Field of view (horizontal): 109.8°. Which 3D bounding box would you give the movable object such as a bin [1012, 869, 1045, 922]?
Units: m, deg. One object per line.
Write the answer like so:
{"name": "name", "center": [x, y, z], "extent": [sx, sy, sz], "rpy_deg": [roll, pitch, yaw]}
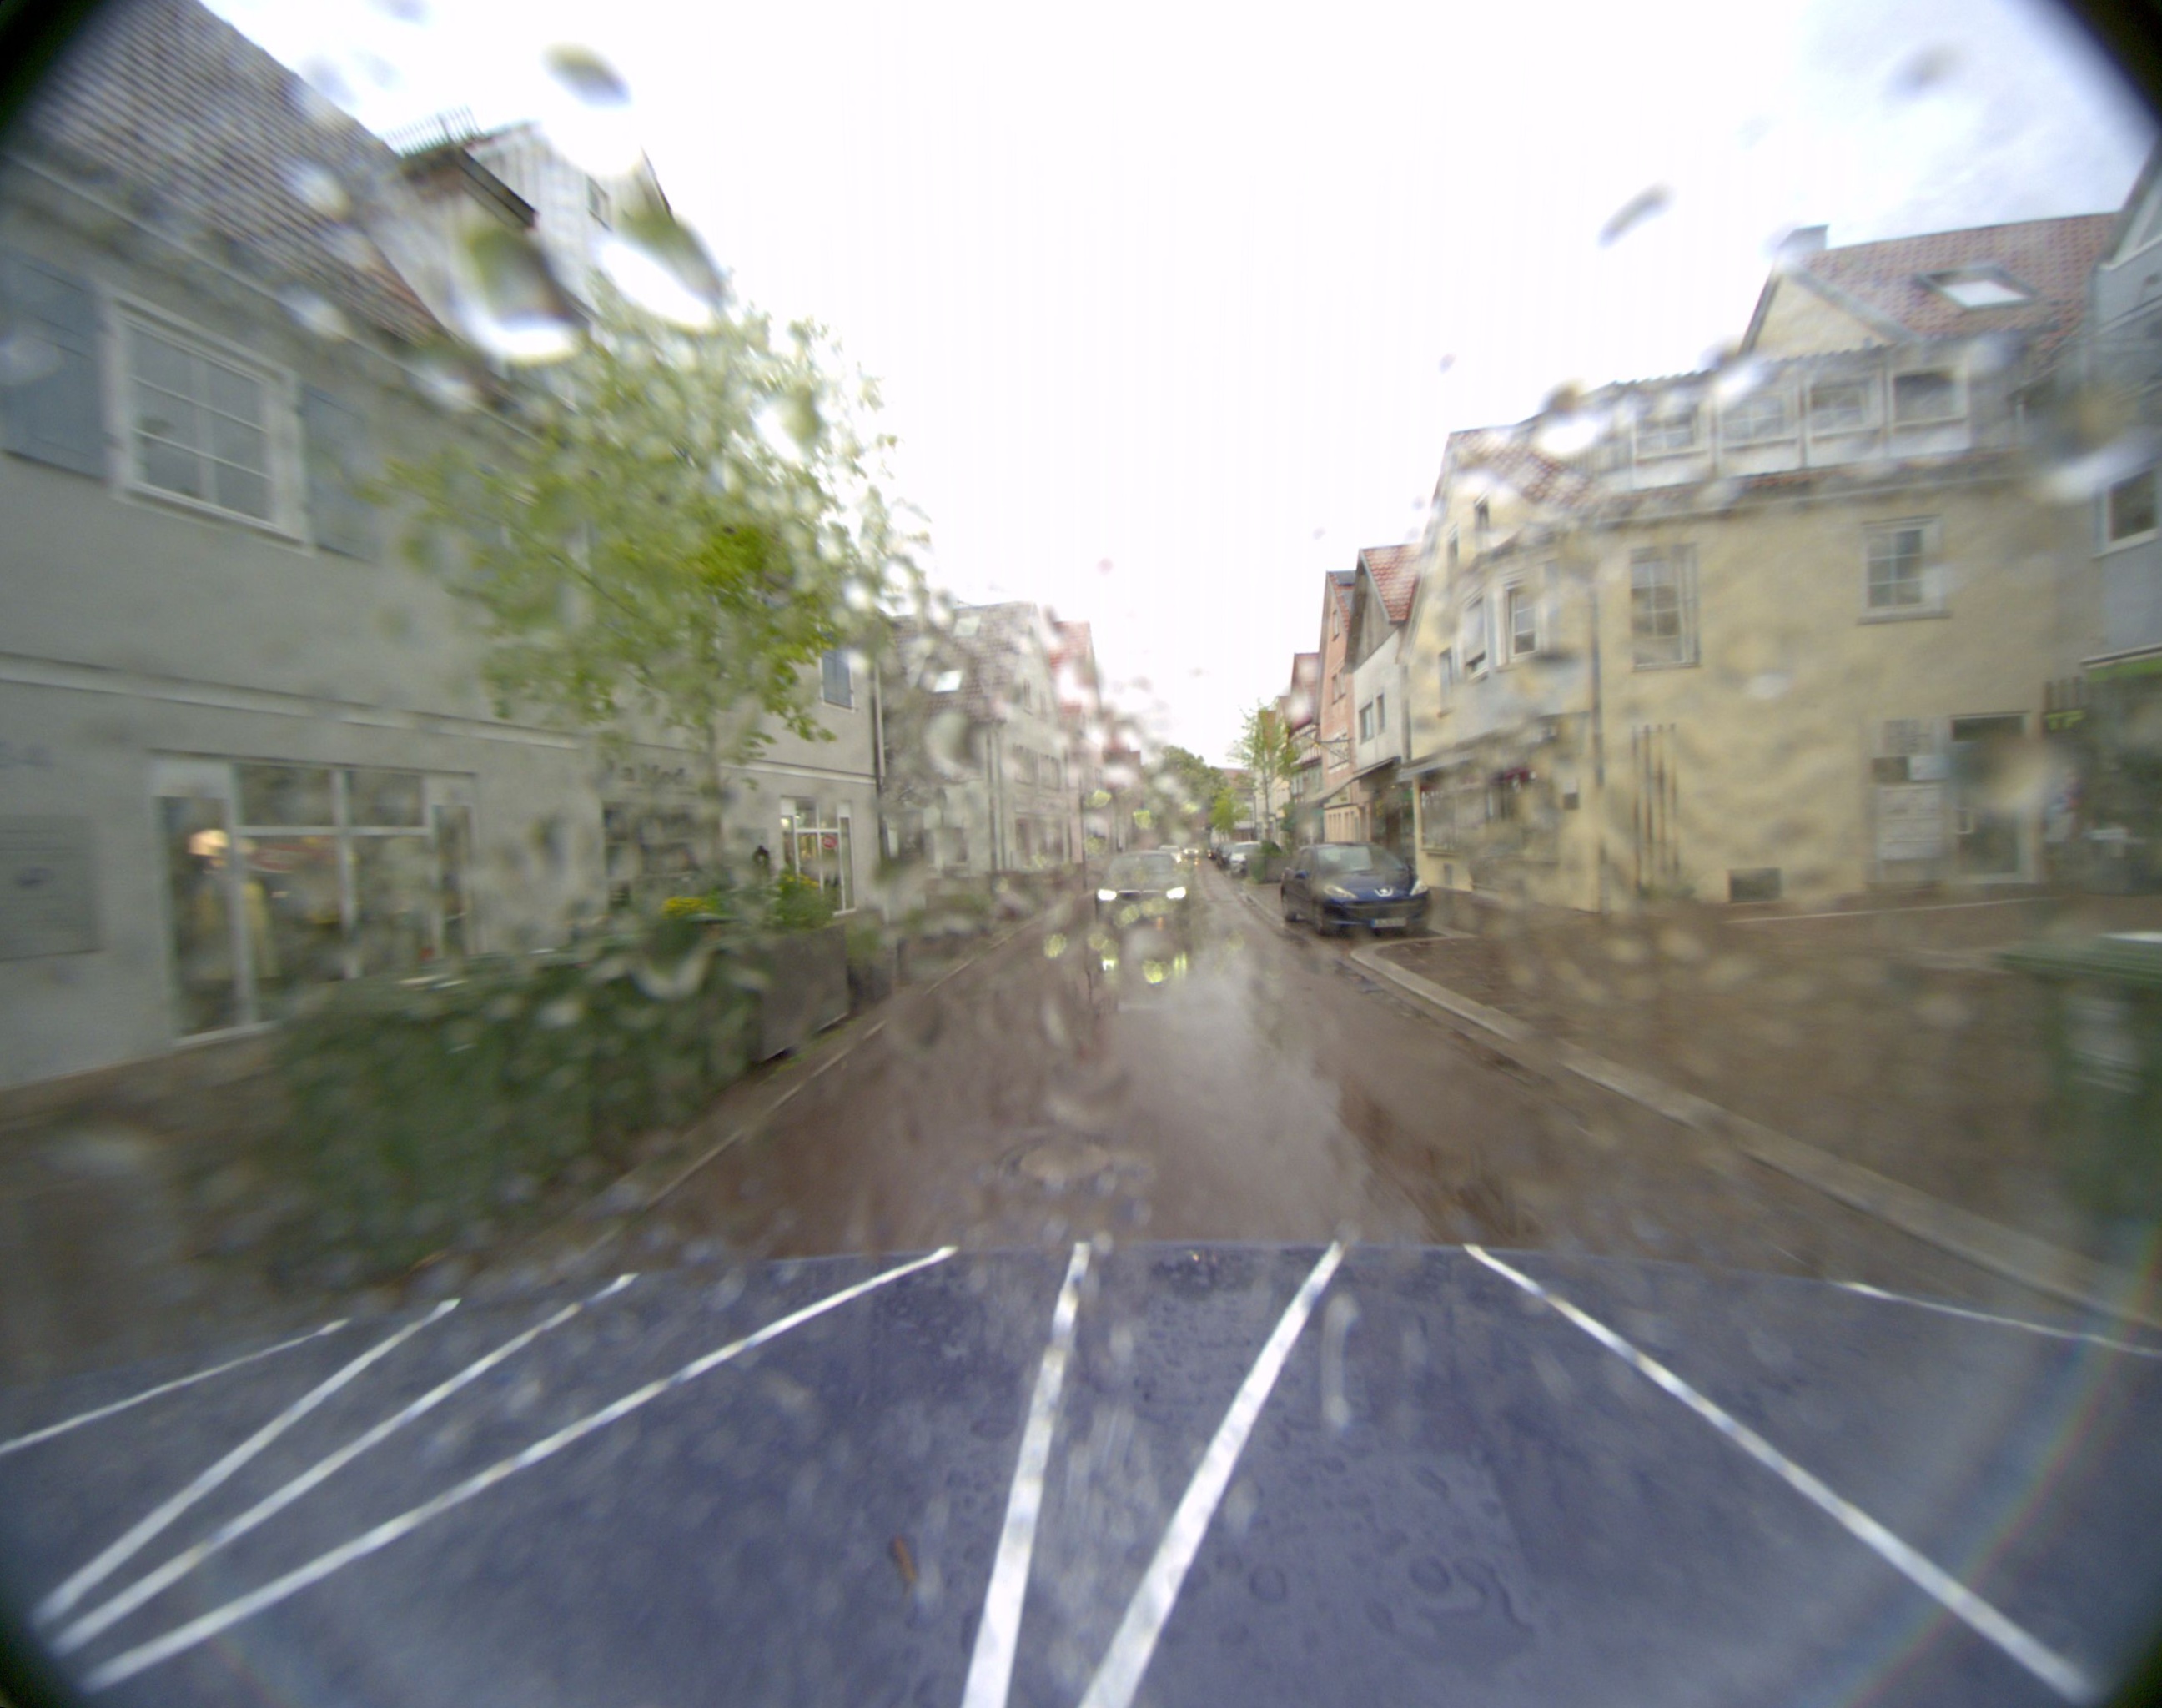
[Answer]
{"name": "movable object such as a bin", "center": [-1.271, 1.014, 18.554], "extent": [0.659, 1.238, 0.543], "rpy_deg": [-2, 2, 8]}

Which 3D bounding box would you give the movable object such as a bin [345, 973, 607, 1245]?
{"name": "movable object such as a bin", "center": [-2.837, 1.172, 3.621], "extent": [0.730, 1.095, 0.561], "rpy_deg": [-2, 2, 6]}

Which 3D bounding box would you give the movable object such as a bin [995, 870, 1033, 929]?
{"name": "movable object such as a bin", "center": [-1.477, 1.009, 16.869], "extent": [0.679, 1.243, 0.565], "rpy_deg": [-2, 2, 8]}

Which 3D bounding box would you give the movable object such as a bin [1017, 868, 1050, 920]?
{"name": "movable object such as a bin", "center": [-1.195, 1.003, 19.136], "extent": [0.659, 1.232, 0.621], "rpy_deg": [-2, 2, 8]}

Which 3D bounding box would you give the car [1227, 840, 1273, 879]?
{"name": "car", "center": [7.645, 0.212, 34.581], "extent": [1.830, 1.558, 4.001], "rpy_deg": [-2, 2, 10]}

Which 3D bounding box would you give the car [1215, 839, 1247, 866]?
{"name": "car", "center": [10.335, -0.155, 52.514], "extent": [1.837, 1.666, 4.541], "rpy_deg": [-2, 2, 8]}

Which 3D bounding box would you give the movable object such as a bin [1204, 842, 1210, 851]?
{"name": "movable object such as a bin", "center": [16.641, -0.977, 100.028], "extent": [0.544, 1.143, 0.586], "rpy_deg": [-1, 3, 35]}

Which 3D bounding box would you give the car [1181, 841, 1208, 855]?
{"name": "car", "center": [12.696, -0.682, 84.895], "extent": [1.995, 1.445, 4.005], "rpy_deg": [-1, 2, 23]}

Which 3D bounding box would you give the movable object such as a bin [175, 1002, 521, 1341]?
{"name": "movable object such as a bin", "center": [-2.813, 1.185, 2.981], "extent": [0.730, 1.074, 0.577], "rpy_deg": [-2, 2, 6]}

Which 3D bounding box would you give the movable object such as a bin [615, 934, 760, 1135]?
{"name": "movable object such as a bin", "center": [-2.527, 1.141, 4.928], "extent": [0.544, 1.149, 0.577], "rpy_deg": [-2, 2, 6]}

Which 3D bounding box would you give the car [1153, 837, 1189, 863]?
{"name": "car", "center": [5.778, -0.298, 48.380], "extent": [1.997, 1.445, 4.002], "rpy_deg": [-2, 2, 10]}

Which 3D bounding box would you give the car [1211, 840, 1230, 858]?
{"name": "car", "center": [12.774, -0.478, 69.681], "extent": [1.595, 1.537, 3.978], "rpy_deg": [-2, 2, 10]}

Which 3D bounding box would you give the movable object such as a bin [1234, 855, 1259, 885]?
{"name": "movable object such as a bin", "center": [6.427, 0.633, 29.513], "extent": [0.816, 1.100, 0.610], "rpy_deg": [-2, 2, 4]}

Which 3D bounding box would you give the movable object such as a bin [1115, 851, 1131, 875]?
{"name": "movable object such as a bin", "center": [2.227, 0.480, 39.961], "extent": [0.720, 1.195, 0.578], "rpy_deg": [-2, 2, 11]}

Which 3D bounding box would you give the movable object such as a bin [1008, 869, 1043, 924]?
{"name": "movable object such as a bin", "center": [-1.304, 1.001, 17.997], "extent": [0.679, 1.249, 0.543], "rpy_deg": [-2, 2, 8]}

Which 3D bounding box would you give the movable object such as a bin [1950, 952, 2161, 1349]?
{"name": "movable object such as a bin", "center": [3.608, 0.945, 2.508], "extent": [0.631, 1.107, 0.733], "rpy_deg": [-2, 2, 1]}

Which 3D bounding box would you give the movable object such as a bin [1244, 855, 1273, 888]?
{"name": "movable object such as a bin", "center": [6.325, 0.617, 27.063], "extent": [0.816, 1.100, 0.610], "rpy_deg": [-5, 2, 4]}

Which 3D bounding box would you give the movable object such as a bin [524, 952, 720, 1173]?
{"name": "movable object such as a bin", "center": [-2.589, 1.160, 4.343], "extent": [0.694, 1.095, 0.561], "rpy_deg": [-2, 2, 6]}

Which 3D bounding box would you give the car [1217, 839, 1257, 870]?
{"name": "car", "center": [9.249, -0.004, 45.395], "extent": [1.837, 1.543, 4.282], "rpy_deg": [-6, 1, 7]}

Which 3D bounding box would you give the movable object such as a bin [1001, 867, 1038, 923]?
{"name": "movable object such as a bin", "center": [-1.405, 0.927, 17.436], "extent": [0.679, 1.225, 0.565], "rpy_deg": [-2, 2, 8]}

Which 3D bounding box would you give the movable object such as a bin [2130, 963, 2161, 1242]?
{"name": "movable object such as a bin", "center": [4.386, 0.924, 2.555], "extent": [0.631, 1.045, 0.734], "rpy_deg": [-2, -2, 1]}

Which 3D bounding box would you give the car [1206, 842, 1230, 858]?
{"name": "car", "center": [13.516, -0.365, 75.129], "extent": [1.805, 1.424, 4.629], "rpy_deg": [-2, 0, 5]}

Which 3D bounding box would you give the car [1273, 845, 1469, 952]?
{"name": "car", "center": [4.747, 0.630, 13.110], "extent": [1.998, 1.463, 4.000], "rpy_deg": [-3, 1, 3]}

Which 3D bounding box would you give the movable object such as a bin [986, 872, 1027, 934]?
{"name": "movable object such as a bin", "center": [-1.582, 1.031, 16.223], "extent": [0.679, 1.234, 0.732], "rpy_deg": [-2, 2, 8]}

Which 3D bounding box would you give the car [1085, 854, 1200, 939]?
{"name": "car", "center": [1.259, 0.766, 16.015], "extent": [1.998, 1.398, 4.894], "rpy_deg": [-2, 0, 4]}
